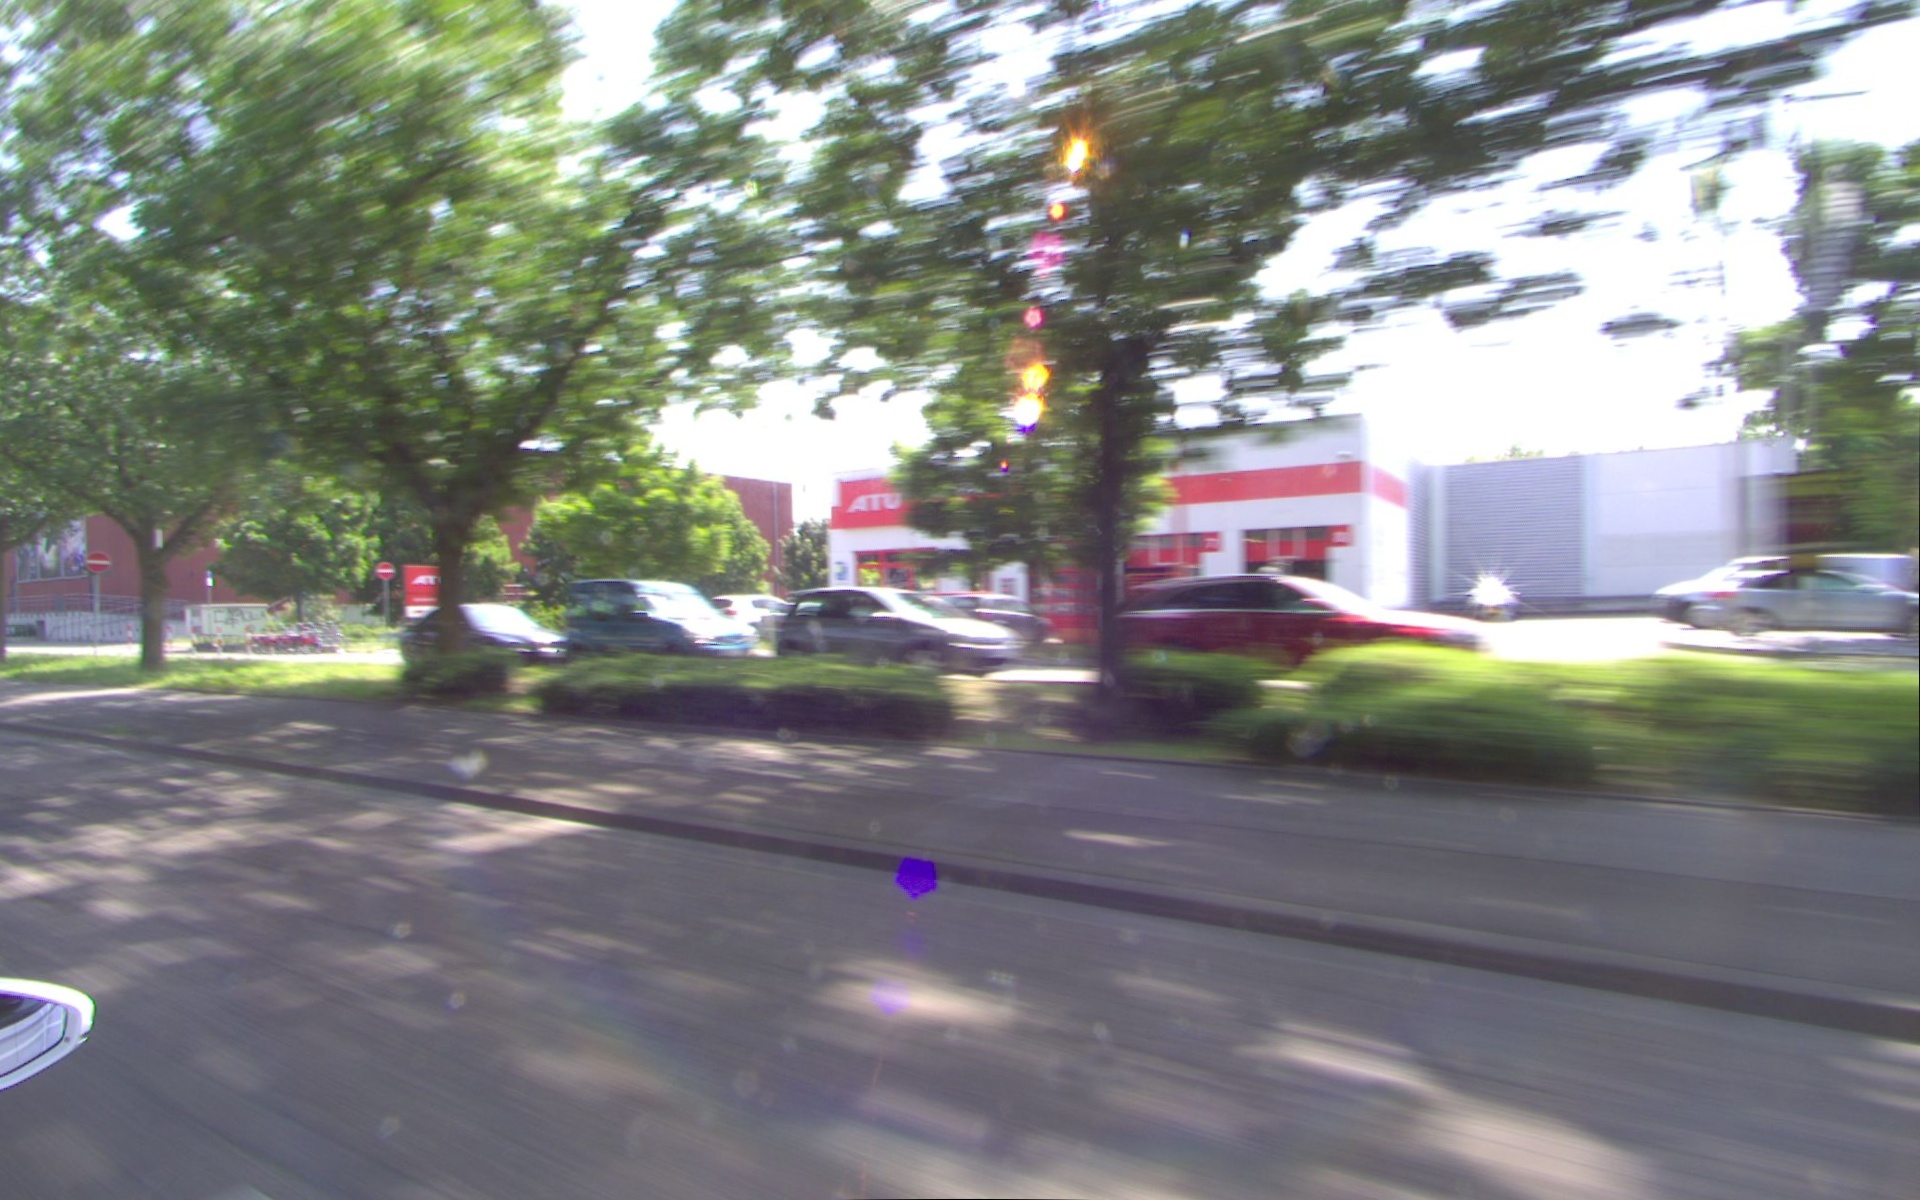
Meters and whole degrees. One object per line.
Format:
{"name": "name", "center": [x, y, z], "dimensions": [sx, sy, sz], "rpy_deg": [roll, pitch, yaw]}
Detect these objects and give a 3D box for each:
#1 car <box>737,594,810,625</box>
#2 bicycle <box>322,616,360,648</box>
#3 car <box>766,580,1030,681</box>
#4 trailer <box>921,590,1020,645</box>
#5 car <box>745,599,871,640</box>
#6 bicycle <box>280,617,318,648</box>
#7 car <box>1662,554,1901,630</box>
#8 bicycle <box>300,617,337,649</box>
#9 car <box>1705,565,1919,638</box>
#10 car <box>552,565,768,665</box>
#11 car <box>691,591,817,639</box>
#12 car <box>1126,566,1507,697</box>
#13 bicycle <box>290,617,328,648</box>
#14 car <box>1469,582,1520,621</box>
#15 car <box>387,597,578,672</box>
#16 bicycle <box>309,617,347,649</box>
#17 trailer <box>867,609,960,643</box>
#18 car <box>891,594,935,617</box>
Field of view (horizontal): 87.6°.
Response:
{"name": "car", "center": [-10.458, 0.539, 56.078], "dimensions": [3.943, 1.641, 1.707], "rpy_deg": [-1, 1, 33]}
{"name": "bicycle", "center": [-22.016, 1.137, 35.645], "dimensions": [0.342, 1.099, 1.086], "rpy_deg": [0, 1, 32]}
{"name": "car", "center": [-1.005, 0.444, 15.618], "dimensions": [3.849, 1.398, 1.697], "rpy_deg": [-1, 0, 32]}
{"name": "trailer", "center": [0.383, 0.513, 31.551], "dimensions": [1.393, 1.603, 3.595], "rpy_deg": [0, 1, 34]}
{"name": "car", "center": [-4.795, 0.618, 32.128], "dimensions": [1.882, 1.237, 3.979], "rpy_deg": [-1, -1, 32]}
{"name": "bicycle", "center": [-24.398, 1.184, 36.992], "dimensions": [0.401, 1.099, 1.086], "rpy_deg": [0, 1, 32]}
{"name": "car", "center": [20.949, -0.174, 25.817], "dimensions": [4.565, 1.829, 1.706], "rpy_deg": [-1, 1, 32]}
{"name": "bicycle", "center": [-23.265, 1.181, 36.329], "dimensions": [0.342, 1.099, 1.086], "rpy_deg": [0, 1, 32]}
{"name": "car", "center": [17.277, 0.035, 20.004], "dimensions": [3.723, 1.357, 1.579], "rpy_deg": [-1, 0, 33]}
{"name": "car", "center": [-5.560, 0.303, 18.461], "dimensions": [3.850, 1.659, 1.697], "rpy_deg": [-2, -1, 32]}
{"name": "car", "center": [-6.764, 0.460, 33.274], "dimensions": [1.914, 1.461, 3.980], "rpy_deg": [-1, 1, 31]}
{"name": "car", "center": [4.387, 0.361, 12.540], "dimensions": [4.261, 1.398, 1.697], "rpy_deg": [-1, 0, 32]}
{"name": "bicycle", "center": [-23.835, 1.168, 36.659], "dimensions": [0.401, 1.099, 1.086], "rpy_deg": [0, 1, 32]}
{"name": "car", "center": [22.794, 0.040, 42.660], "dimensions": [1.819, 1.595, 3.981], "rpy_deg": [-1, 1, 29]}
{"name": "car", "center": [-10.271, 0.719, 21.401], "dimensions": [4.593, 1.443, 1.695], "rpy_deg": [-2, -1, 36]}
{"name": "bicycle", "center": [-22.601, 1.160, 35.831], "dimensions": [0.342, 1.099, 1.086], "rpy_deg": [0, 1, 32]}
{"name": "trailer", "center": [-1.299, 0.736, 28.704], "dimensions": [1.361, 0.922, 2.708], "rpy_deg": [-1, -2, 32]}
{"name": "car", "center": [-3.924, 0.452, 83.840], "dimensions": [3.307, 1.818, 1.569], "rpy_deg": [-1, 1, 21]}
